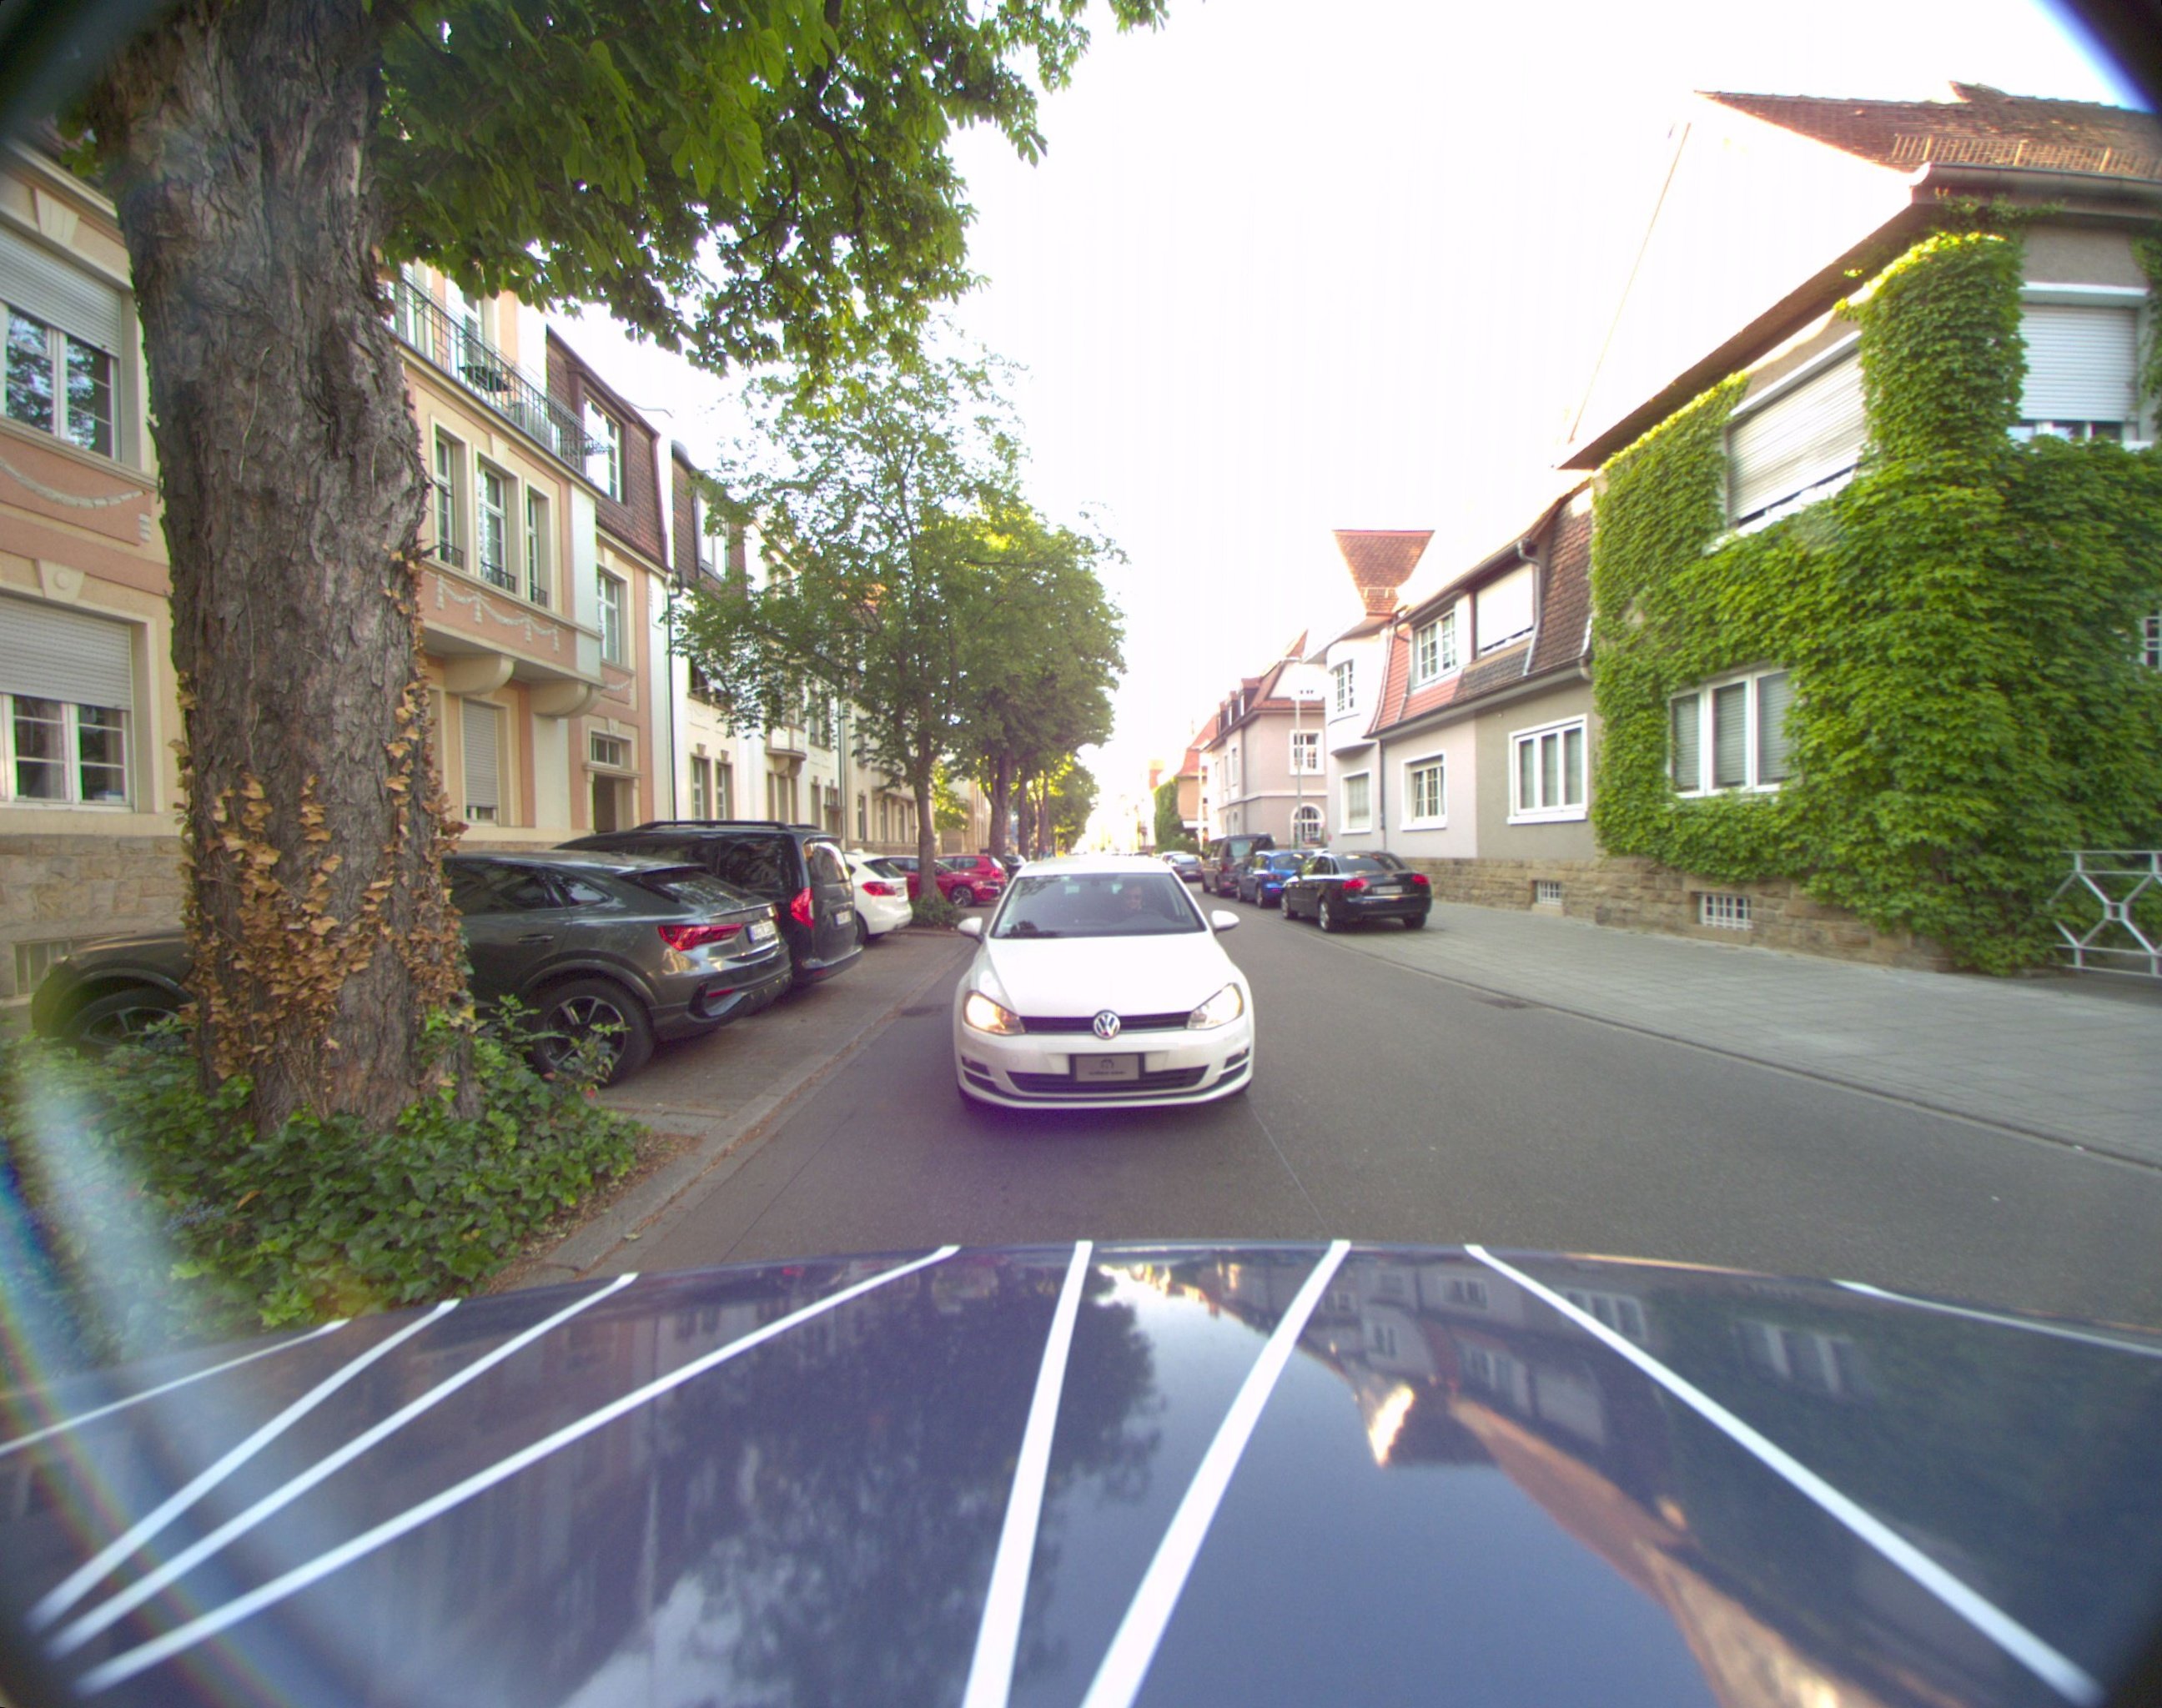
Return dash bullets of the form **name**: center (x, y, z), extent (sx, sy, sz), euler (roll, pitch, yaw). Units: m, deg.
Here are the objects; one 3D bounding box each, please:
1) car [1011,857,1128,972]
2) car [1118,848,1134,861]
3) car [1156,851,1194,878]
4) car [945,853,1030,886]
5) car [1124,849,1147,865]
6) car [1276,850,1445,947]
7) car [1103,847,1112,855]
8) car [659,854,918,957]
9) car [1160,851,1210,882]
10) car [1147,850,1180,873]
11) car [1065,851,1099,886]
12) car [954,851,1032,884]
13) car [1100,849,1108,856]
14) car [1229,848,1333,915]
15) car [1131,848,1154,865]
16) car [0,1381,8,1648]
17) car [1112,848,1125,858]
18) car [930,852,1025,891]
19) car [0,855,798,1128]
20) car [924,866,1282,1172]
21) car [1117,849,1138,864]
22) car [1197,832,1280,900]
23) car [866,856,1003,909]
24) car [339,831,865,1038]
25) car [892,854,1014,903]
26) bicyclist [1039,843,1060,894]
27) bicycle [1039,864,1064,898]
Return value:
- **car**: center (-0.136, 0.840, 12.494), extent (1.600, 1.546, 4.000), euler (1, 0, 1)
- **car**: center (5.372, 0.034, 91.117), extent (1.643, 1.461, 3.689), euler (-3, 0, -1)
- **car**: center (5.148, 0.546, 42.180), extent (1.541, 1.363, 3.945), euler (-3, 0, 0)
- **car**: center (-4.140, 0.680, 34.108), extent (3.622, 1.395, 1.537), euler (0, 1, 0)
- **car**: center (5.405, 0.281, 75.516), extent (1.643, 1.461, 3.688), euler (-3, 0, -4)
- **car**: center (5.101, 0.716, 14.482), extent (1.751, 1.421, 4.023), euler (-4, 1, 1)
- **car**: center (5.242, -0.521, 148.769), extent (1.643, 1.461, 3.689), euler (-3, 0, 0)
- **car**: center (-4.617, 0.802, 12.382), extent (3.623, 1.541, 1.537), euler (1, 1, -4)
- **car**: center (4.981, 0.561, 36.864), extent (1.719, 1.363, 4.334), euler (-3, 0, 0)
- **car**: center (5.446, 0.469, 50.659), extent (1.719, 1.363, 3.945), euler (-3, 0, 0)
- **car**: center (0.074, 0.659, 36.514), extent (1.560, 1.546, 3.738), euler (1, 0, 1)
- **car**: center (-4.226, 0.645, 36.880), extent (3.622, 1.555, 1.537), euler (0, 1, 0)
- **car**: center (5.164, -0.443, 173.340), extent (1.643, 1.461, 3.689), euler (-3, 0, 0)
- **car**: center (5.227, 0.650, 20.378), extent (1.611, 1.455, 4.023), euler (-4, 1, 0)
- **car**: center (5.495, 0.192, 68.220), extent (1.643, 1.461, 3.945), euler (-3, 0, 0)
- **car**: center (-4.667, 0.795, 0.515), extent (4.835, 1.814, 1.880), euler (1, 1, -4)
- **car**: center (5.687, -0.125, 115.893), extent (1.643, 1.461, 3.689), euler (-3, 0, 0)
- **car**: center (-4.172, 0.699, 30.945), extent (3.622, 1.555, 1.537), euler (0, 1, 0)
- **car**: center (-4.392, 0.833, 5.412), extent (4.173, 1.583, 1.594), euler (1, 1, -4)
- **car**: center (0.079, 0.885, 5.938), extent (1.799, 1.420, 4.023), euler (-2, 0, -1)
- **car**: center (4.946, 0.225, 80.946), extent (1.643, 1.461, 3.688), euler (-3, 0, -4)
- **car**: center (5.152, 0.323, 25.360), extent (1.719, 1.961, 4.310), euler (-4, 1, 0)
- **car**: center (-4.149, 0.795, 21.815), extent (3.622, 1.395, 1.537), euler (1, 1, 0)
- **car**: center (-4.455, 0.713, 7.594), extent (4.173, 1.816, 1.594), euler (1, 1, -4)
- **car**: center (-4.045, 0.768, 24.340), extent (3.622, 1.456, 1.537), euler (1, 1, 0)
- **bicyclist**: center (-1.131, 0.515, 27.453), extent (0.648, 1.765, 0.830), euler (-2, 1, 1)
- **bicycle**: center (-1.054, 0.959, 27.330), extent (0.744, 1.111, 2.013), euler (-2, 0, 1)
